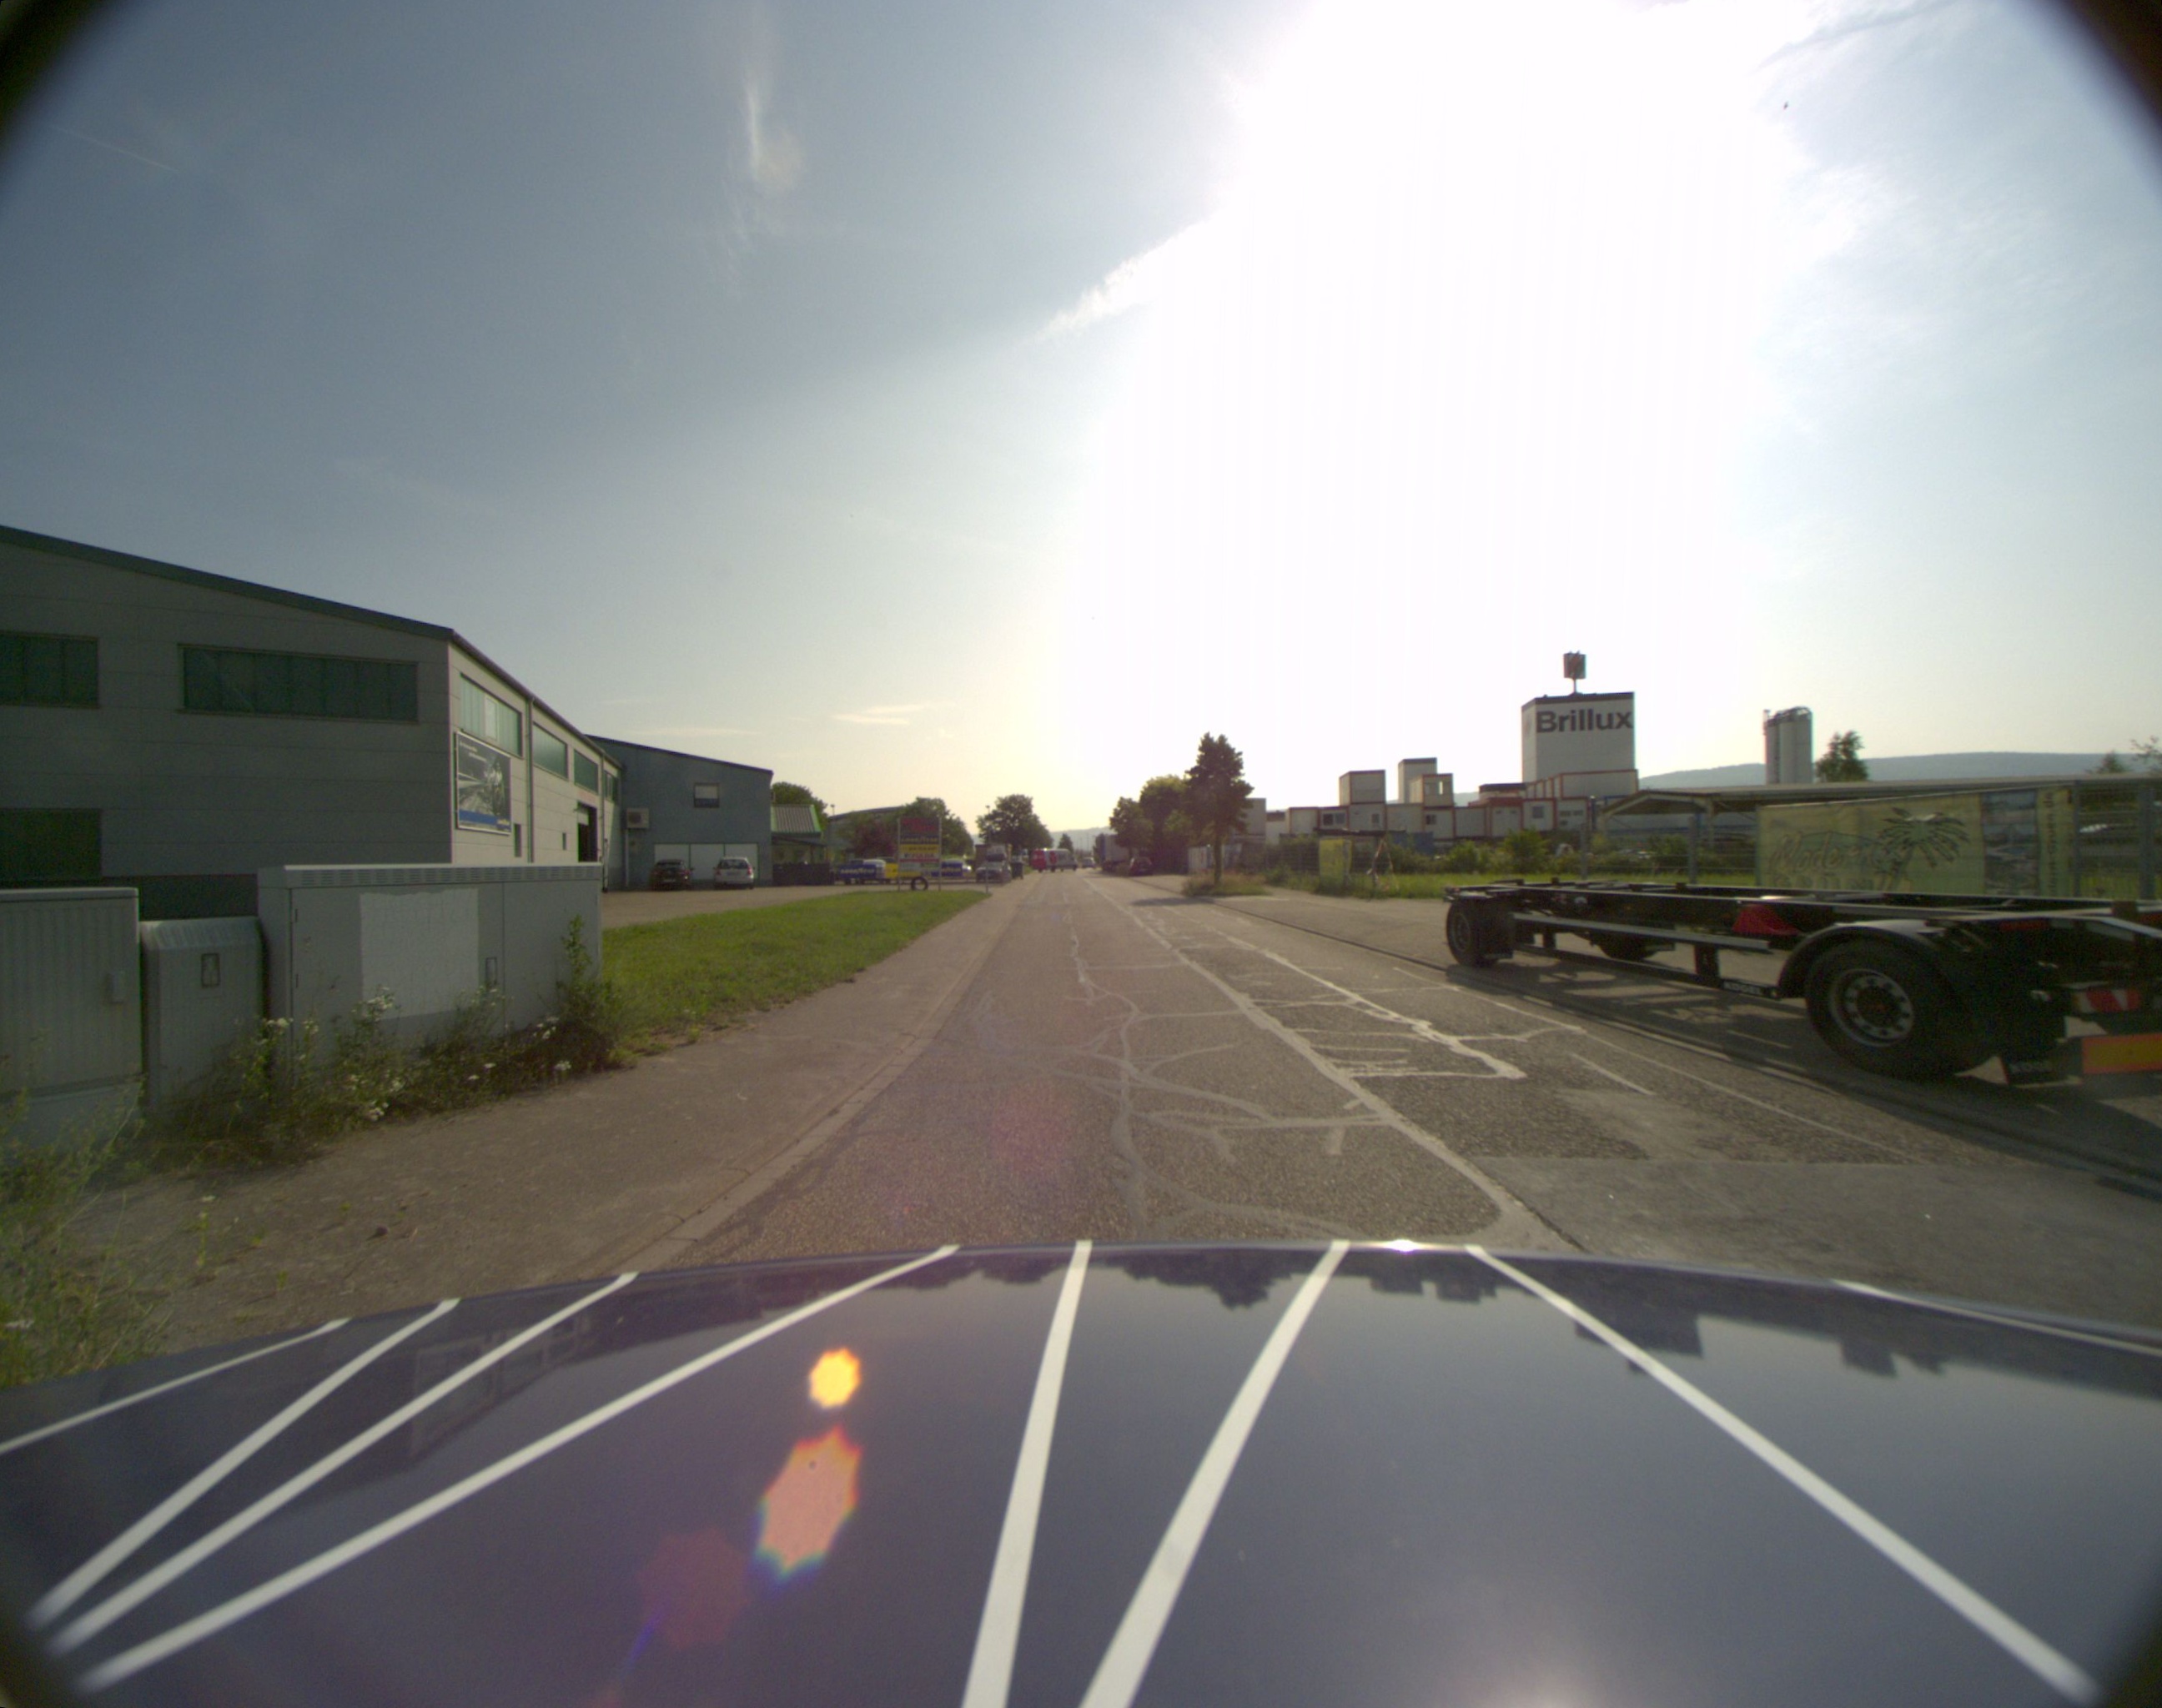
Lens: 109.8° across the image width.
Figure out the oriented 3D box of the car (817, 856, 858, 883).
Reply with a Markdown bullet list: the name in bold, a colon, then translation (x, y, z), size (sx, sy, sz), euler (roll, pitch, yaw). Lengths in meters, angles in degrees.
- **car**: translation (-14.247, 0.865, 44.318), size (1.647, 1.457, 4.451), euler (-1, 0, -26)

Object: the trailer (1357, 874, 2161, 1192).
- **trailer**: translation (6.212, 0.987, 8.392), size (2.589, 1.177, 9.360), euler (-2, 0, -2)

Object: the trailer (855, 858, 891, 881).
- **trailer**: translation (-12.269, 0.900, 44.703), size (1.497, 1.241, 2.971), euler (-2, 0, -25)

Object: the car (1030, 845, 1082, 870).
- **car**: translation (-2.773, 0.354, 86.705), size (2.275, 2.524, 6.758), euler (-2, 0, 33)

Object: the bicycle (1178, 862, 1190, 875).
- **bicycle**: translation (8.114, 1.152, 59.900), size (0.563, 0.967, 2.452), euler (-1, 0, -2)

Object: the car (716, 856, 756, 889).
- **car**: translation (-17.000, 0.874, 37.556), size (1.641, 1.559, 3.798), euler (-1, 0, -23)

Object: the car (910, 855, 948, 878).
- **car**: translation (-11.184, 0.906, 55.836), size (1.723, 1.563, 4.124), euler (-1, 0, -26)

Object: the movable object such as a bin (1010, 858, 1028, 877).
- **movable object such as a bin**: translation (-4.514, 1.003, 55.405), size (1.083, 1.345, 1.506), euler (2, 0, 1)

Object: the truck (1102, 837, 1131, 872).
- **truck**: translation (4.145, 0.061, 90.004), size (2.720, 3.861, 9.634), euler (-2, 0, -1)

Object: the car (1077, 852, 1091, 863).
- **car**: translation (0.469, 0.475, 112.191), size (1.816, 1.617, 4.248), euler (0, 0, -2)

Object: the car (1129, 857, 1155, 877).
- **car**: translation (4.781, 1.020, 60.257), size (1.692, 1.461, 4.093), euler (-1, 0, -1)

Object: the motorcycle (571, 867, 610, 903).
- **motorcycle**: translation (-16.393, 1.010, 25.427), size (0.804, 1.088, 2.198), euler (-1, 0, -26)

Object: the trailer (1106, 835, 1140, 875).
- **trailer**: translation (4.337, 0.098, 80.359), size (2.707, 3.861, 9.763), euler (-2, 0, -1)

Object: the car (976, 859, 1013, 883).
- **car**: translation (-5.486, 1.056, 48.615), size (1.677, 1.360, 4.394), euler (-1, 0, 3)

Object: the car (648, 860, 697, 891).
- **car**: translation (-19.343, 0.980, 36.077), size (1.684, 1.394, 3.704), euler (-1, 0, -23)

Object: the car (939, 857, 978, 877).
- **car**: translation (-9.351, 0.969, 57.763), size (1.695, 1.457, 4.253), euler (-1, 0, -26)

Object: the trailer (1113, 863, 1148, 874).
- **trailer**: translation (4.630, 1.352, 72.342), size (2.656, 0.979, 6.241), euler (0, 0, -3)

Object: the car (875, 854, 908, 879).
- **car**: translation (-13.637, 0.884, 54.569), size (1.646, 1.710, 3.207), euler (-1, 0, -26)
